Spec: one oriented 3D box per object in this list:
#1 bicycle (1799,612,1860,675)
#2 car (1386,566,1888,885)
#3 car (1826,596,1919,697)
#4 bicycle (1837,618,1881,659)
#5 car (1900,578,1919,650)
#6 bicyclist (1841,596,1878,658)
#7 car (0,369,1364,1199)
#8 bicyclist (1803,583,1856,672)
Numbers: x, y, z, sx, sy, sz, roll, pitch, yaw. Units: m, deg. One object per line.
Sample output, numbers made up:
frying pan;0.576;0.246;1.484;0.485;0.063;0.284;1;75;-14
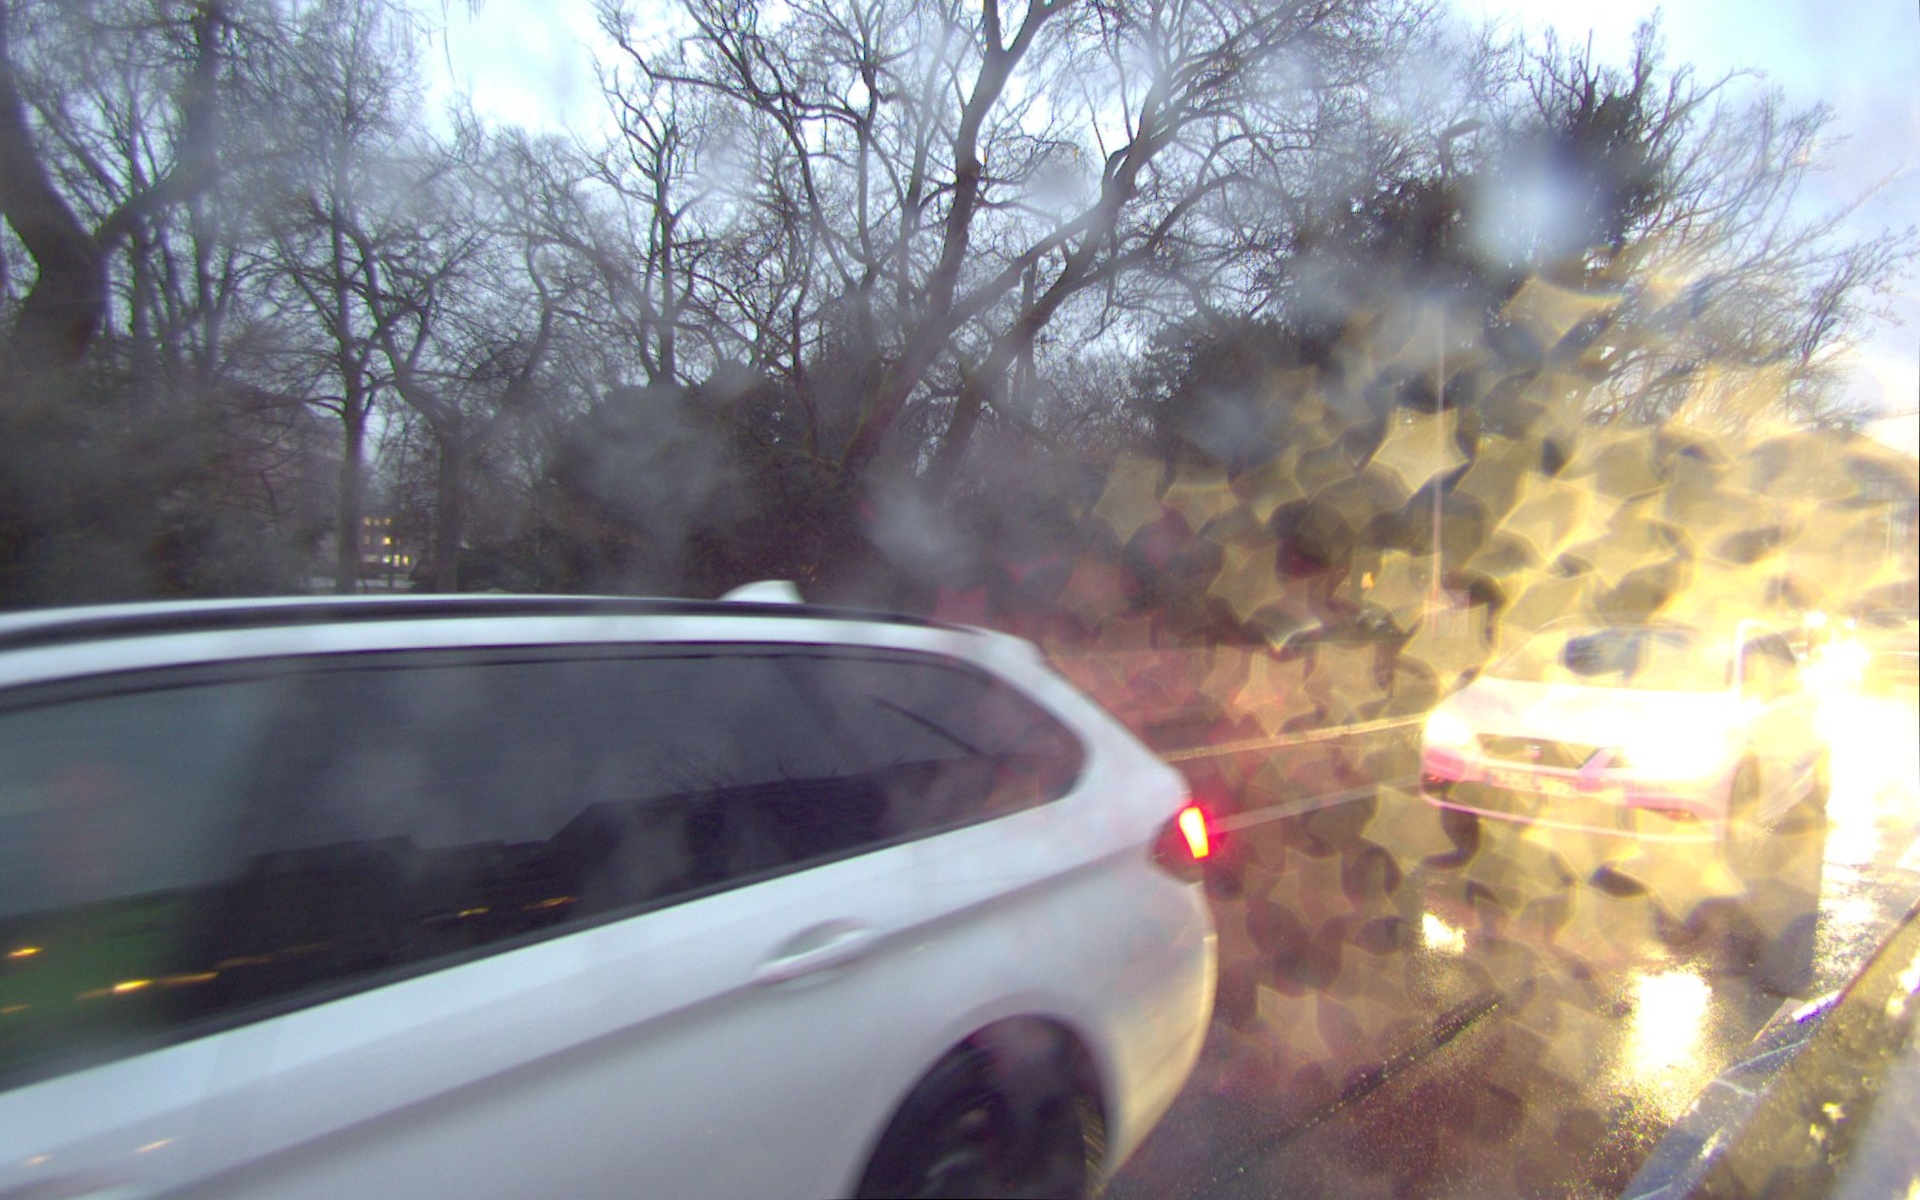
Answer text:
bicycle;22.475;1.069;26.128;0.965;1.469;3.335;0;0;45
car;4.926;0.614;7.138;4.097;1.580;1.885;0;2;-41
car;17.168;0.752;18.099;4.196;1.648;2.070;0;0;-43
bicycle;24.980;1.060;28.106;1.691;1.055;0.691;0;0;-41
car;24.103;0.307;24.237;4.197;1.648;2.069;0;0;-44
bicyclist;25.020;0.738;28.147;0.582;1.706;0.691;0;0;-41
car;-1.380;0.554;1.660;4.854;1.575;1.865;0;2;-43
bicyclist;22.518;0.684;26.219;0.965;2.251;0.920;-1;0;45
